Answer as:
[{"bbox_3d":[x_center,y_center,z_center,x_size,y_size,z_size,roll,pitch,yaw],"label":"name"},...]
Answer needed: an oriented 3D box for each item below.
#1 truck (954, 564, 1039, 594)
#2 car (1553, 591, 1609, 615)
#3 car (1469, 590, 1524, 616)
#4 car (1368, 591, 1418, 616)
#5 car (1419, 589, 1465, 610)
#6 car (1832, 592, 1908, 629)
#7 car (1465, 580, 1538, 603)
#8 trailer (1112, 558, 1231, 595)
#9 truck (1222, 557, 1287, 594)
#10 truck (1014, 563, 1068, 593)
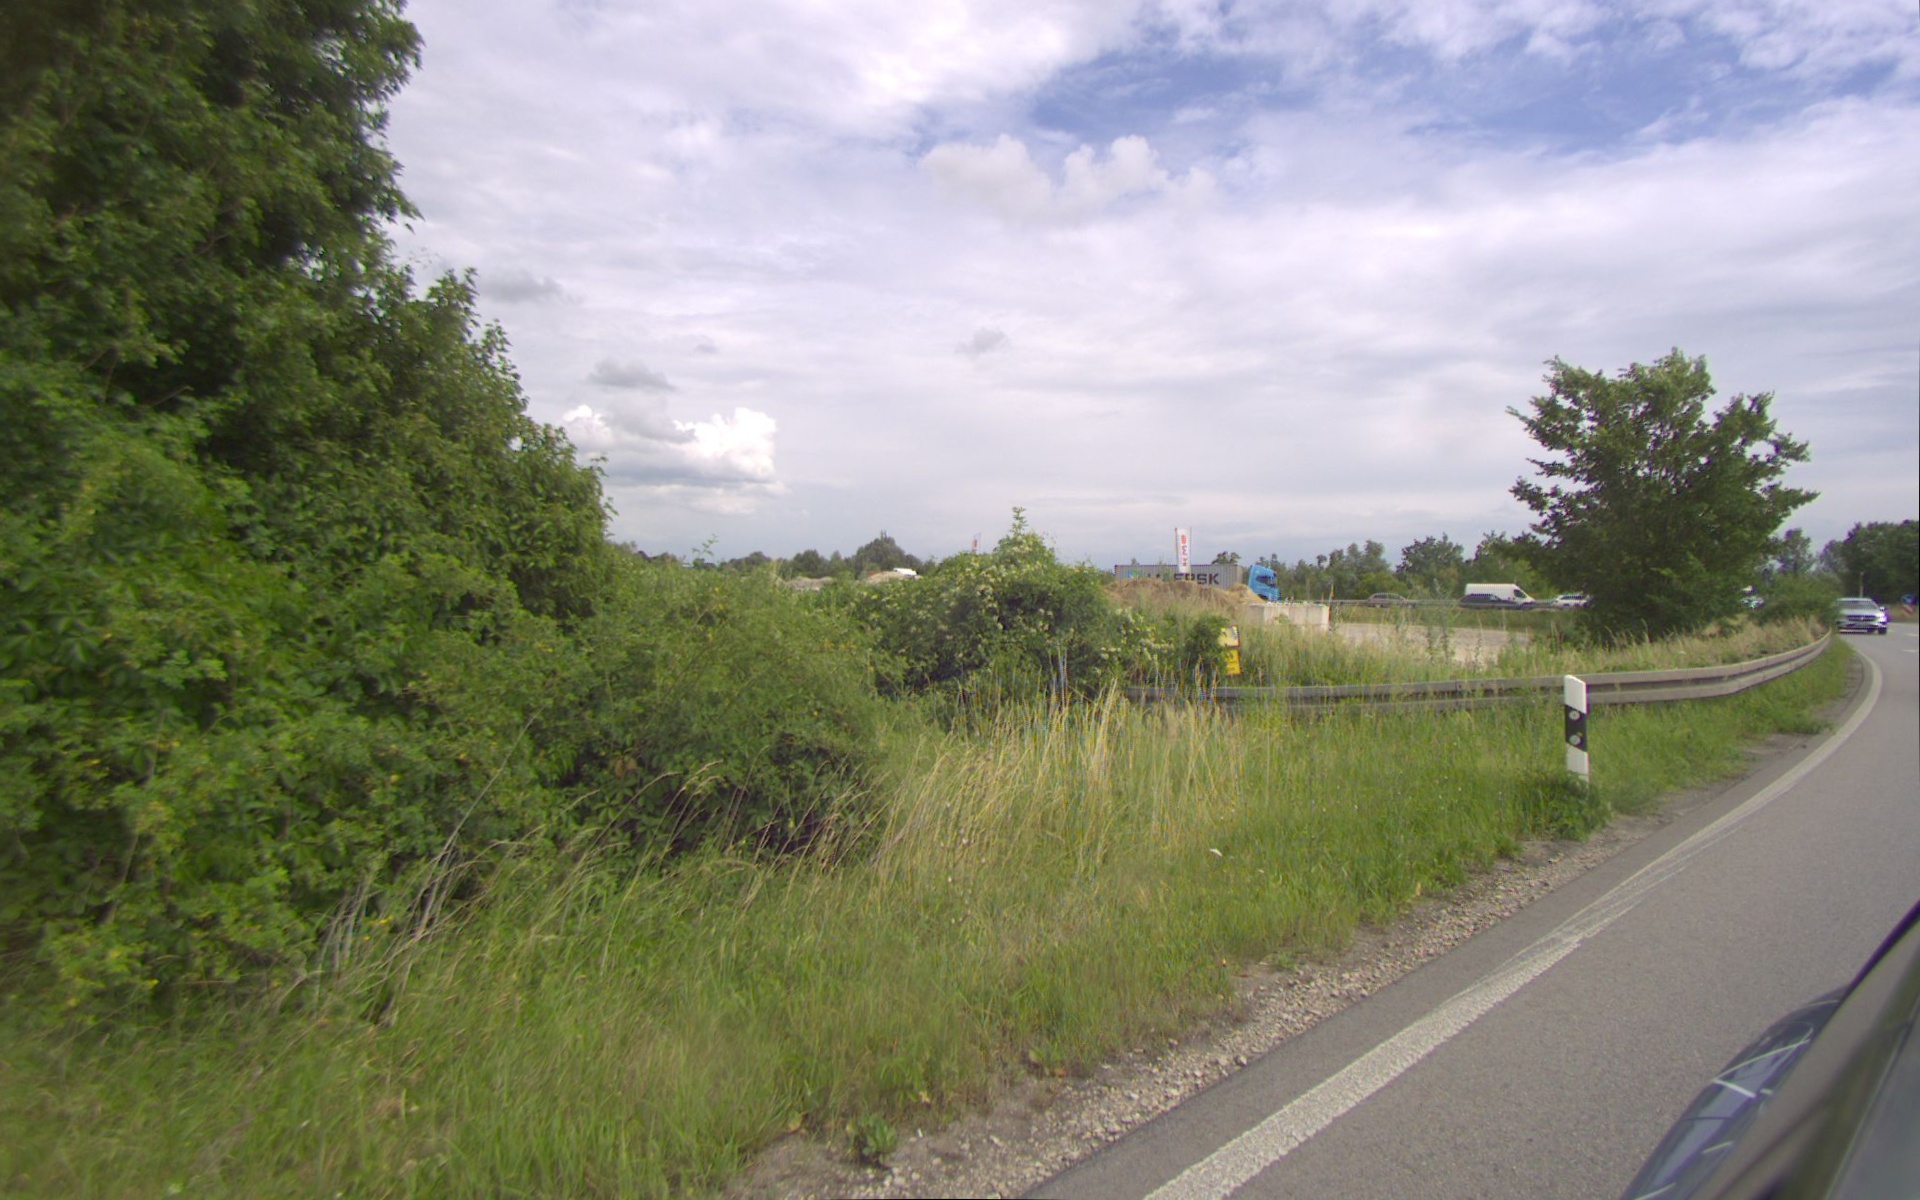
[{"bbox_3d":[4.025,-2.286,115.174,2.350,3.093,11.739,1,-1,-41],"label":"truck"},{"bbox_3d":[53.325,0.244,86.989,3.966,2.039,1.979,1,0,30],"label":"car"},{"bbox_3d":[45.347,0.243,85.627,3.962,2.039,1.913,2,0,28],"label":"car"},{"bbox_3d":[38.415,0.296,89.772,3.962,2.039,1.913,2,0,28],"label":"car"},{"bbox_3d":[46.665,-0.047,97.960,3.962,2.039,1.913,0,-1,28],"label":"car"},{"bbox_3d":[41.756,0.475,46.540,2.008,1.633,4.228,0,0,34],"label":"car"},{"bbox_3d":[49.214,-0.775,92.149,5.841,2.039,2.041,0,-1,28],"label":"car"},{"bbox_3d":[20.328,-2.228,97.804,11.132,3.352,2.367,0,-1,30],"label":"trailer"},{"bbox_3d":[27.376,-2.239,94.092,5.535,3.347,2.372,0,-1,24],"label":"truck"},{"bbox_3d":[8.741,-2.331,109.675,2.350,3.093,5.976,1,-1,-41],"label":"truck"}]
